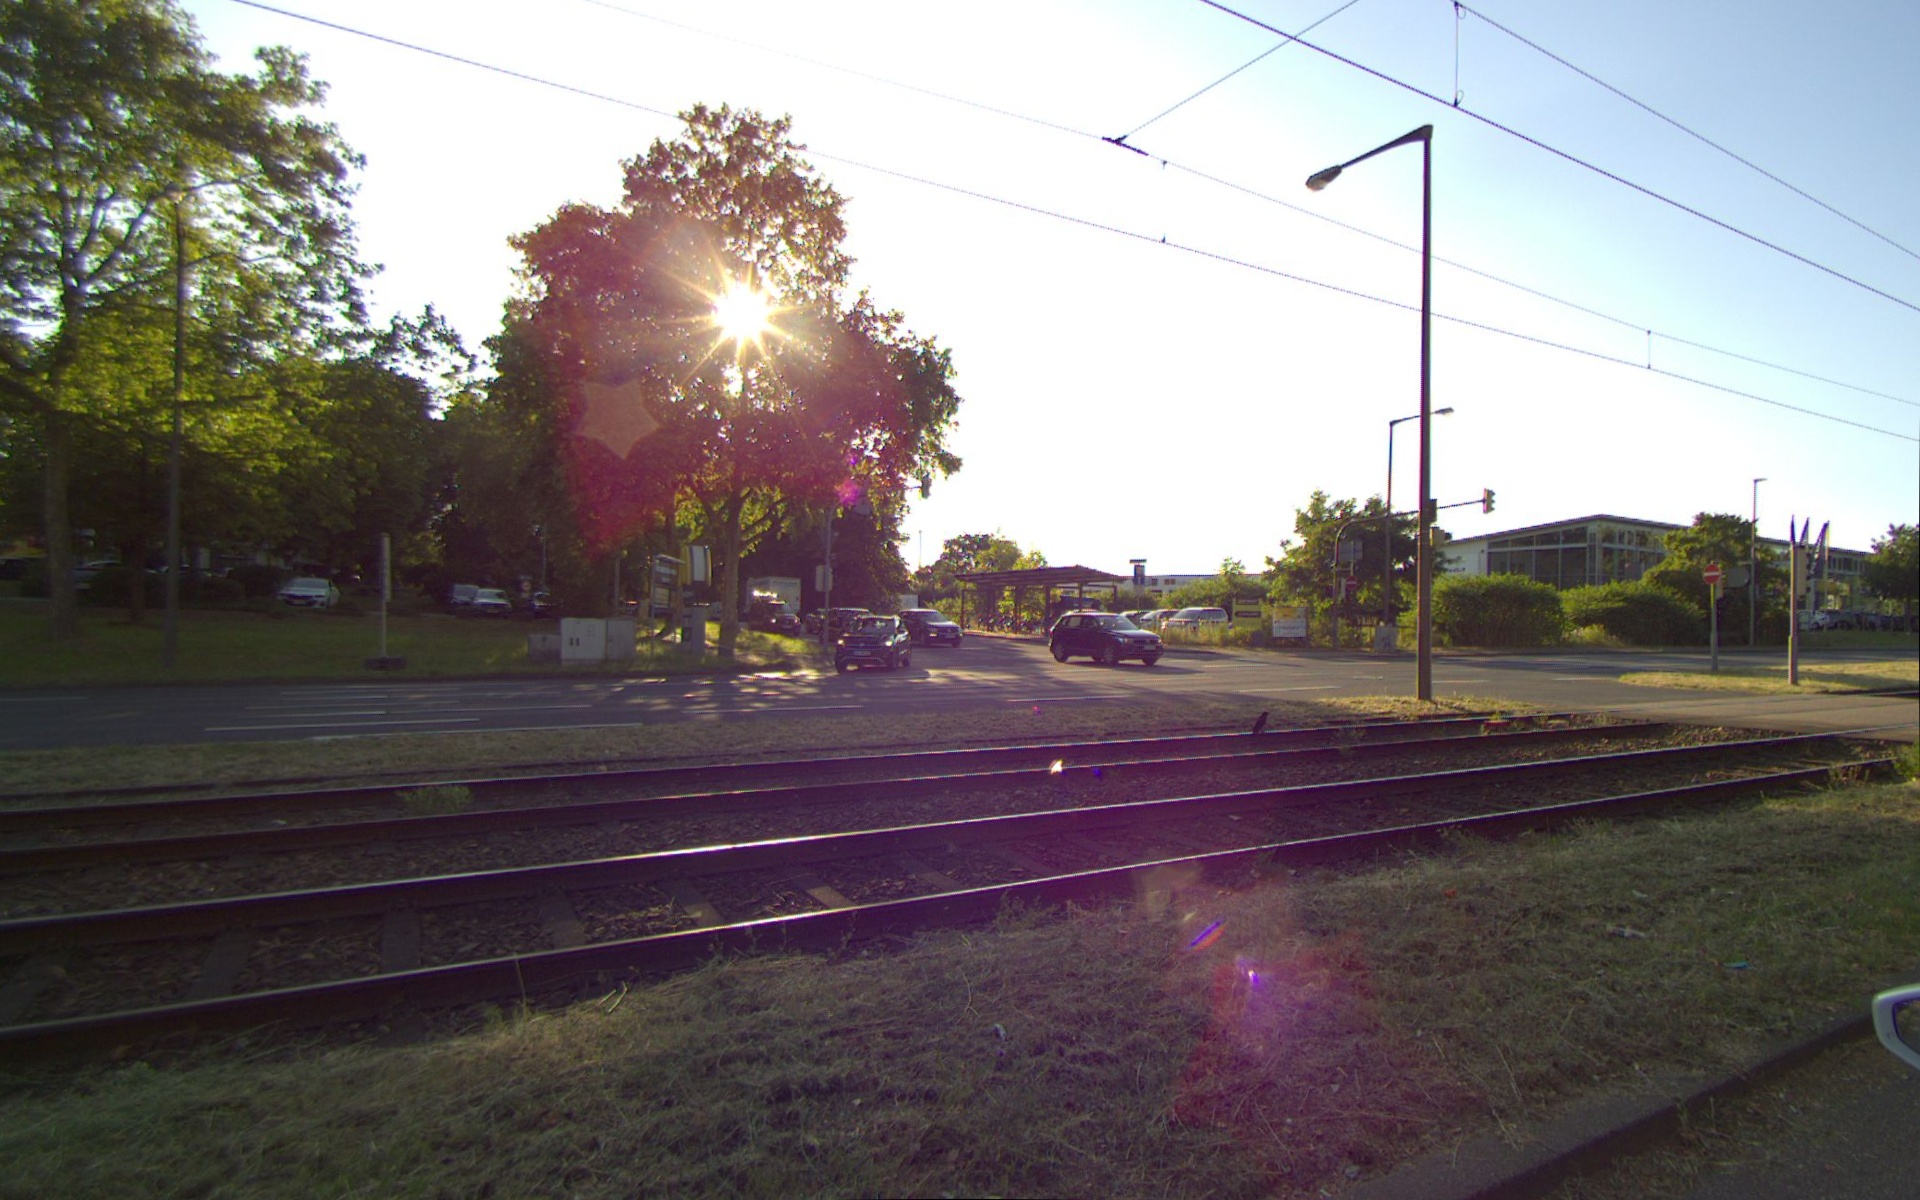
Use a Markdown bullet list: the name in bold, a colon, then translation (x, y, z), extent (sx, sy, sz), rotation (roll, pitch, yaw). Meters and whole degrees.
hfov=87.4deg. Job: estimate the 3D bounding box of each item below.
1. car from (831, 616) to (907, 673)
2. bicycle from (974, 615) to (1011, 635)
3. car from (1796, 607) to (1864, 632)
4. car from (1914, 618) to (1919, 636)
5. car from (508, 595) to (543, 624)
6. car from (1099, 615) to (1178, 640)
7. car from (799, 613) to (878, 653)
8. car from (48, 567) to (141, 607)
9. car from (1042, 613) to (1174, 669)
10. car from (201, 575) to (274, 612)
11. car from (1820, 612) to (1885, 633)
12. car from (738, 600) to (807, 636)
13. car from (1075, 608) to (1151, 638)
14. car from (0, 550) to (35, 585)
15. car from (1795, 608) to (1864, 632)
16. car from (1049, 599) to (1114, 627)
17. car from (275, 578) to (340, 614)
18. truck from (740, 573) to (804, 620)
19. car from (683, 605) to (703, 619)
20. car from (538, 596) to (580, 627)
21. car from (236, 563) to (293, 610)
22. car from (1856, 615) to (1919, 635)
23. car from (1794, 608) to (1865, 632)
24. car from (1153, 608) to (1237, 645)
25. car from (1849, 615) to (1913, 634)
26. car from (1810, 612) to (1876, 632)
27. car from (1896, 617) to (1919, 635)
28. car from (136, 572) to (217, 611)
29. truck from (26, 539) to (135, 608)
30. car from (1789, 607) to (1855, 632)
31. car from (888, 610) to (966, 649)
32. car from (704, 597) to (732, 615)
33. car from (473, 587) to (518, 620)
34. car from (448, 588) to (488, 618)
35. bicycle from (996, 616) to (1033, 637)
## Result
- **car**: translation (-2.637, 1.296, 29.972), extent (1.722, 1.578, 3.974), rotation (0, -2, 2)
- **bicycle**: translation (1.920, 1.488, 59.039), extent (2.004, 1.119, 0.777), rotation (2, 0, -30)
- **car**: translation (68.354, 1.525, 78.981), extent (3.940, 1.840, 1.735), rotation (1, 0, 40)
- **car**: translation (91.287, 2.539, 93.022), extent (1.725, 1.642, 3.962), rotation (1, 0, -34)
- **car**: translation (-26.231, 0.547, 60.660), extent (1.836, 1.637, 4.036), rotation (2, 0, -23)
- **car**: translation (9.932, 1.520, 55.859), extent (4.123, 1.284, 1.853), rotation (1, 0, -30)
- **car**: translation (-5.216, 1.350, 42.653), extent (1.717, 1.565, 4.298), rotation (0, 0, -31)
- **car**: translation (-36.093, -0.517, 42.007), extent (1.916, 1.530, 4.071), rotation (2, 0, -26)
- **car**: translation (4.733, 1.278, 32.687), extent (1.858, 1.656, 4.330), rotation (1, -1, -33)
- **car**: translation (-32.120, -0.281, 44.743), extent (1.916, 1.530, 4.071), rotation (2, 0, -26)
- **car**: translation (74.199, 1.878, 83.610), extent (3.940, 1.576, 1.735), rotation (1, 0, 40)
- **car**: translation (-9.378, 0.856, 49.956), extent (1.824, 1.656, 4.270), rotation (1, 0, -34)
- **car**: translation (8.813, 1.318, 57.790), extent (4.123, 1.604, 1.853), rotation (1, 0, -30)
- **car**: translation (-53.867, -1.834, 56.367), extent (2.274, 1.875, 5.220), rotation (2, 0, -36)
- **car**: translation (66.716, 1.526, 77.169), extent (3.940, 1.727, 1.735), rotation (1, 0, 40)
- **car**: translation (9.278, 0.977, 76.656), extent (4.715, 2.041, 1.853), rotation (1, 0, -30)
- **car**: translation (-29.439, -0.181, 45.426), extent (1.916, 1.530, 4.071), rotation (2, 0, -26)
- **truck**: translation (-15.056, -0.252, 79.778), extent (2.782, 3.520, 8.291), rotation (1, 0, -27)
- **car**: translation (-33.364, 1.525, 125.416), extent (1.887, 1.602, 4.036), rotation (2, 0, -21)
- **car**: translation (-20.446, 0.561, 51.126), extent (1.604, 1.477, 3.878), rotation (2, 0, -27)
- **car**: translation (-37.304, -0.707, 53.994), extent (2.138, 2.334, 4.369), rotation (2, 0, -31)
- **car**: translation (81.756, 2.189, 88.510), extent (1.728, 1.576, 3.957), rotation (1, 0, -37)
- **car**: translation (65.170, 1.476, 75.369), extent (3.940, 1.727, 1.735), rotation (1, 0, 40)
- **car**: translation (12.355, 1.358, 52.728), extent (4.123, 1.846, 1.853), rotation (1, 0, -30)
- **car**: translation (79.603, 2.101, 86.891), extent (3.940, 1.576, 1.735), rotation (1, 0, 40)
- **car**: translation (71.979, 1.782, 81.942), extent (3.940, 1.576, 1.735), rotation (1, 0, 40)
- **car**: translation (88.372, 2.423, 91.743), extent (1.725, 1.642, 3.962), rotation (1, 0, -34)
- **car**: translation (-33.962, -0.355, 43.671), extent (1.916, 1.530, 4.071), rotation (2, 0, -26)
- **truck**: translation (-44.520, -1.298, 51.051), extent (2.468, 3.209, 6.187), rotation (2, 0, -26)
- **car**: translation (69.316, 1.543, 80.826), extent (3.940, 1.840, 1.735), rotation (1, 0, 40)
- **car**: translation (-1.487, 1.250, 43.436), extent (1.692, 1.581, 4.133), rotation (0, 0, -30)
- **car**: translation (-22.851, 0.541, 94.851), extent (1.711, 1.603, 4.028), rotation (1, 0, -27)
- **car**: translation (-22.941, 0.149, 49.577), extent (1.916, 1.530, 4.071), rotation (2, 0, -26)
- **car**: translation (-28.580, 0.170, 58.482), extent (1.836, 1.637, 4.036), rotation (2, 0, -23)
- **bicycle**: translation (3.062, 1.509, 56.403), extent (2.004, 1.119, 0.777), rotation (2, 0, -30)
